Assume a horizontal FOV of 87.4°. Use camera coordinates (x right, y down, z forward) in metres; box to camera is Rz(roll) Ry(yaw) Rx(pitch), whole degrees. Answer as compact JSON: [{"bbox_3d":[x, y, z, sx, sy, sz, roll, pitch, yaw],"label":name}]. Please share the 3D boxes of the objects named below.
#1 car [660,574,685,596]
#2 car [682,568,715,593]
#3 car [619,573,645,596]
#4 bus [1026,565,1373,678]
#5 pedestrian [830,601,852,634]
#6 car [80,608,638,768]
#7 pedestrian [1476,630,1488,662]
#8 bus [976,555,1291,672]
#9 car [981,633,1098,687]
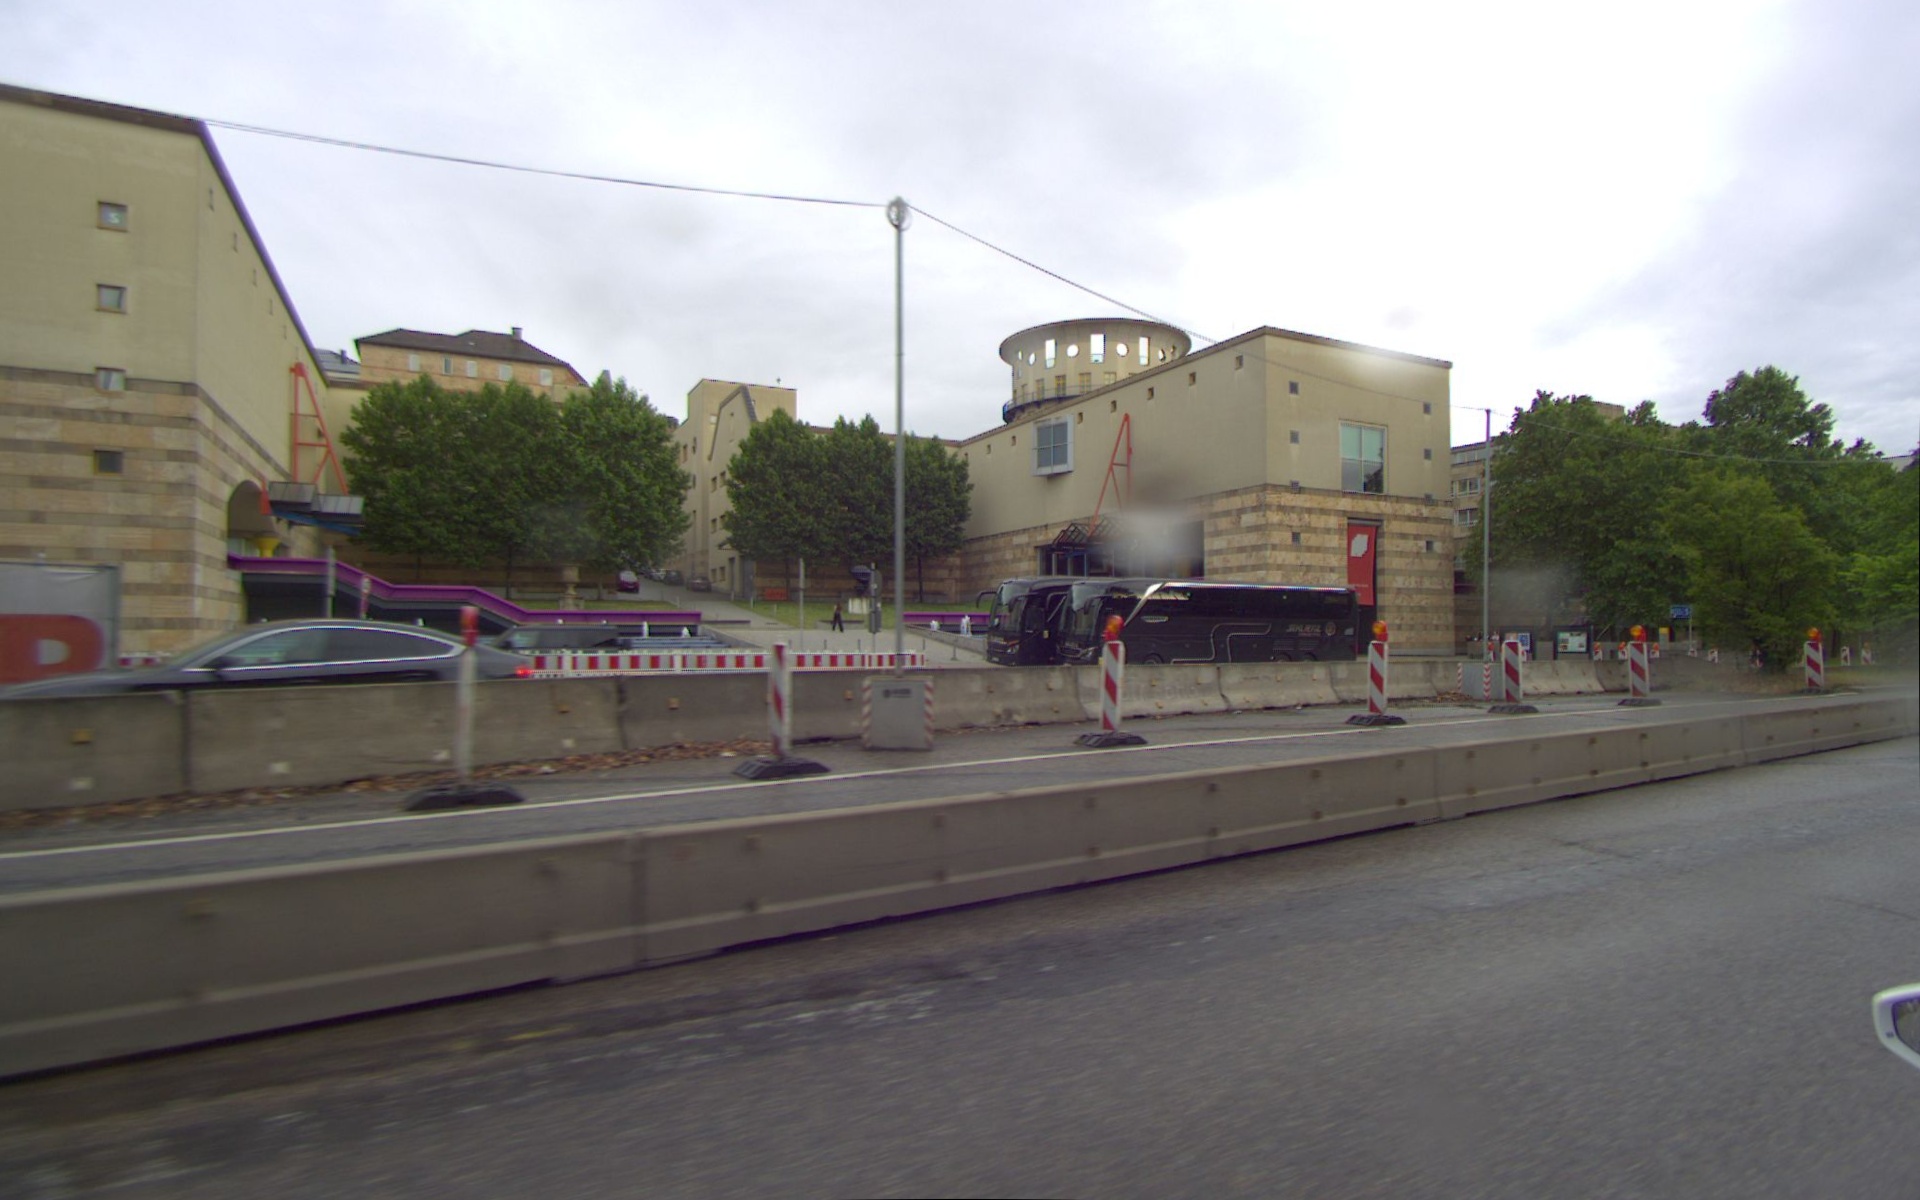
[{"bbox_3d":[-31.198,-1.648,108.845,1.974,2.039,3.976,2,-4,-26],"label":"car"},{"bbox_3d":[-25.182,-1.887,96.705,1.978,2.039,3.966,2,-4,-32],"label":"car"},{"bbox_3d":[-30.593,-1.411,93.618,1.680,1.817,3.935,2,-4,-28],"label":"car"},{"bbox_3d":[9.517,0.844,38.623,14.398,3.862,2.796,1,0,-25],"label":"bus"},{"bbox_3d":[-6.402,0.944,54.064,0.935,1.738,0.684,1,-1,12],"label":"pedestrian"},{"bbox_3d":[-5.974,0.757,10.430,4.732,1.279,1.757,1,0,-43],"label":"car"},{"bbox_3d":[33.321,2.960,64.103,0.505,2.039,0.476,2,-4,-28],"label":"pedestrian"},{"bbox_3d":[7.299,0.609,41.015,13.312,4.309,3.109,1,0,-25],"label":"bus"},{"bbox_3d":[2.394,1.811,30.261,3.178,1.519,1.584,2,-5,-31],"label":"car"}]
